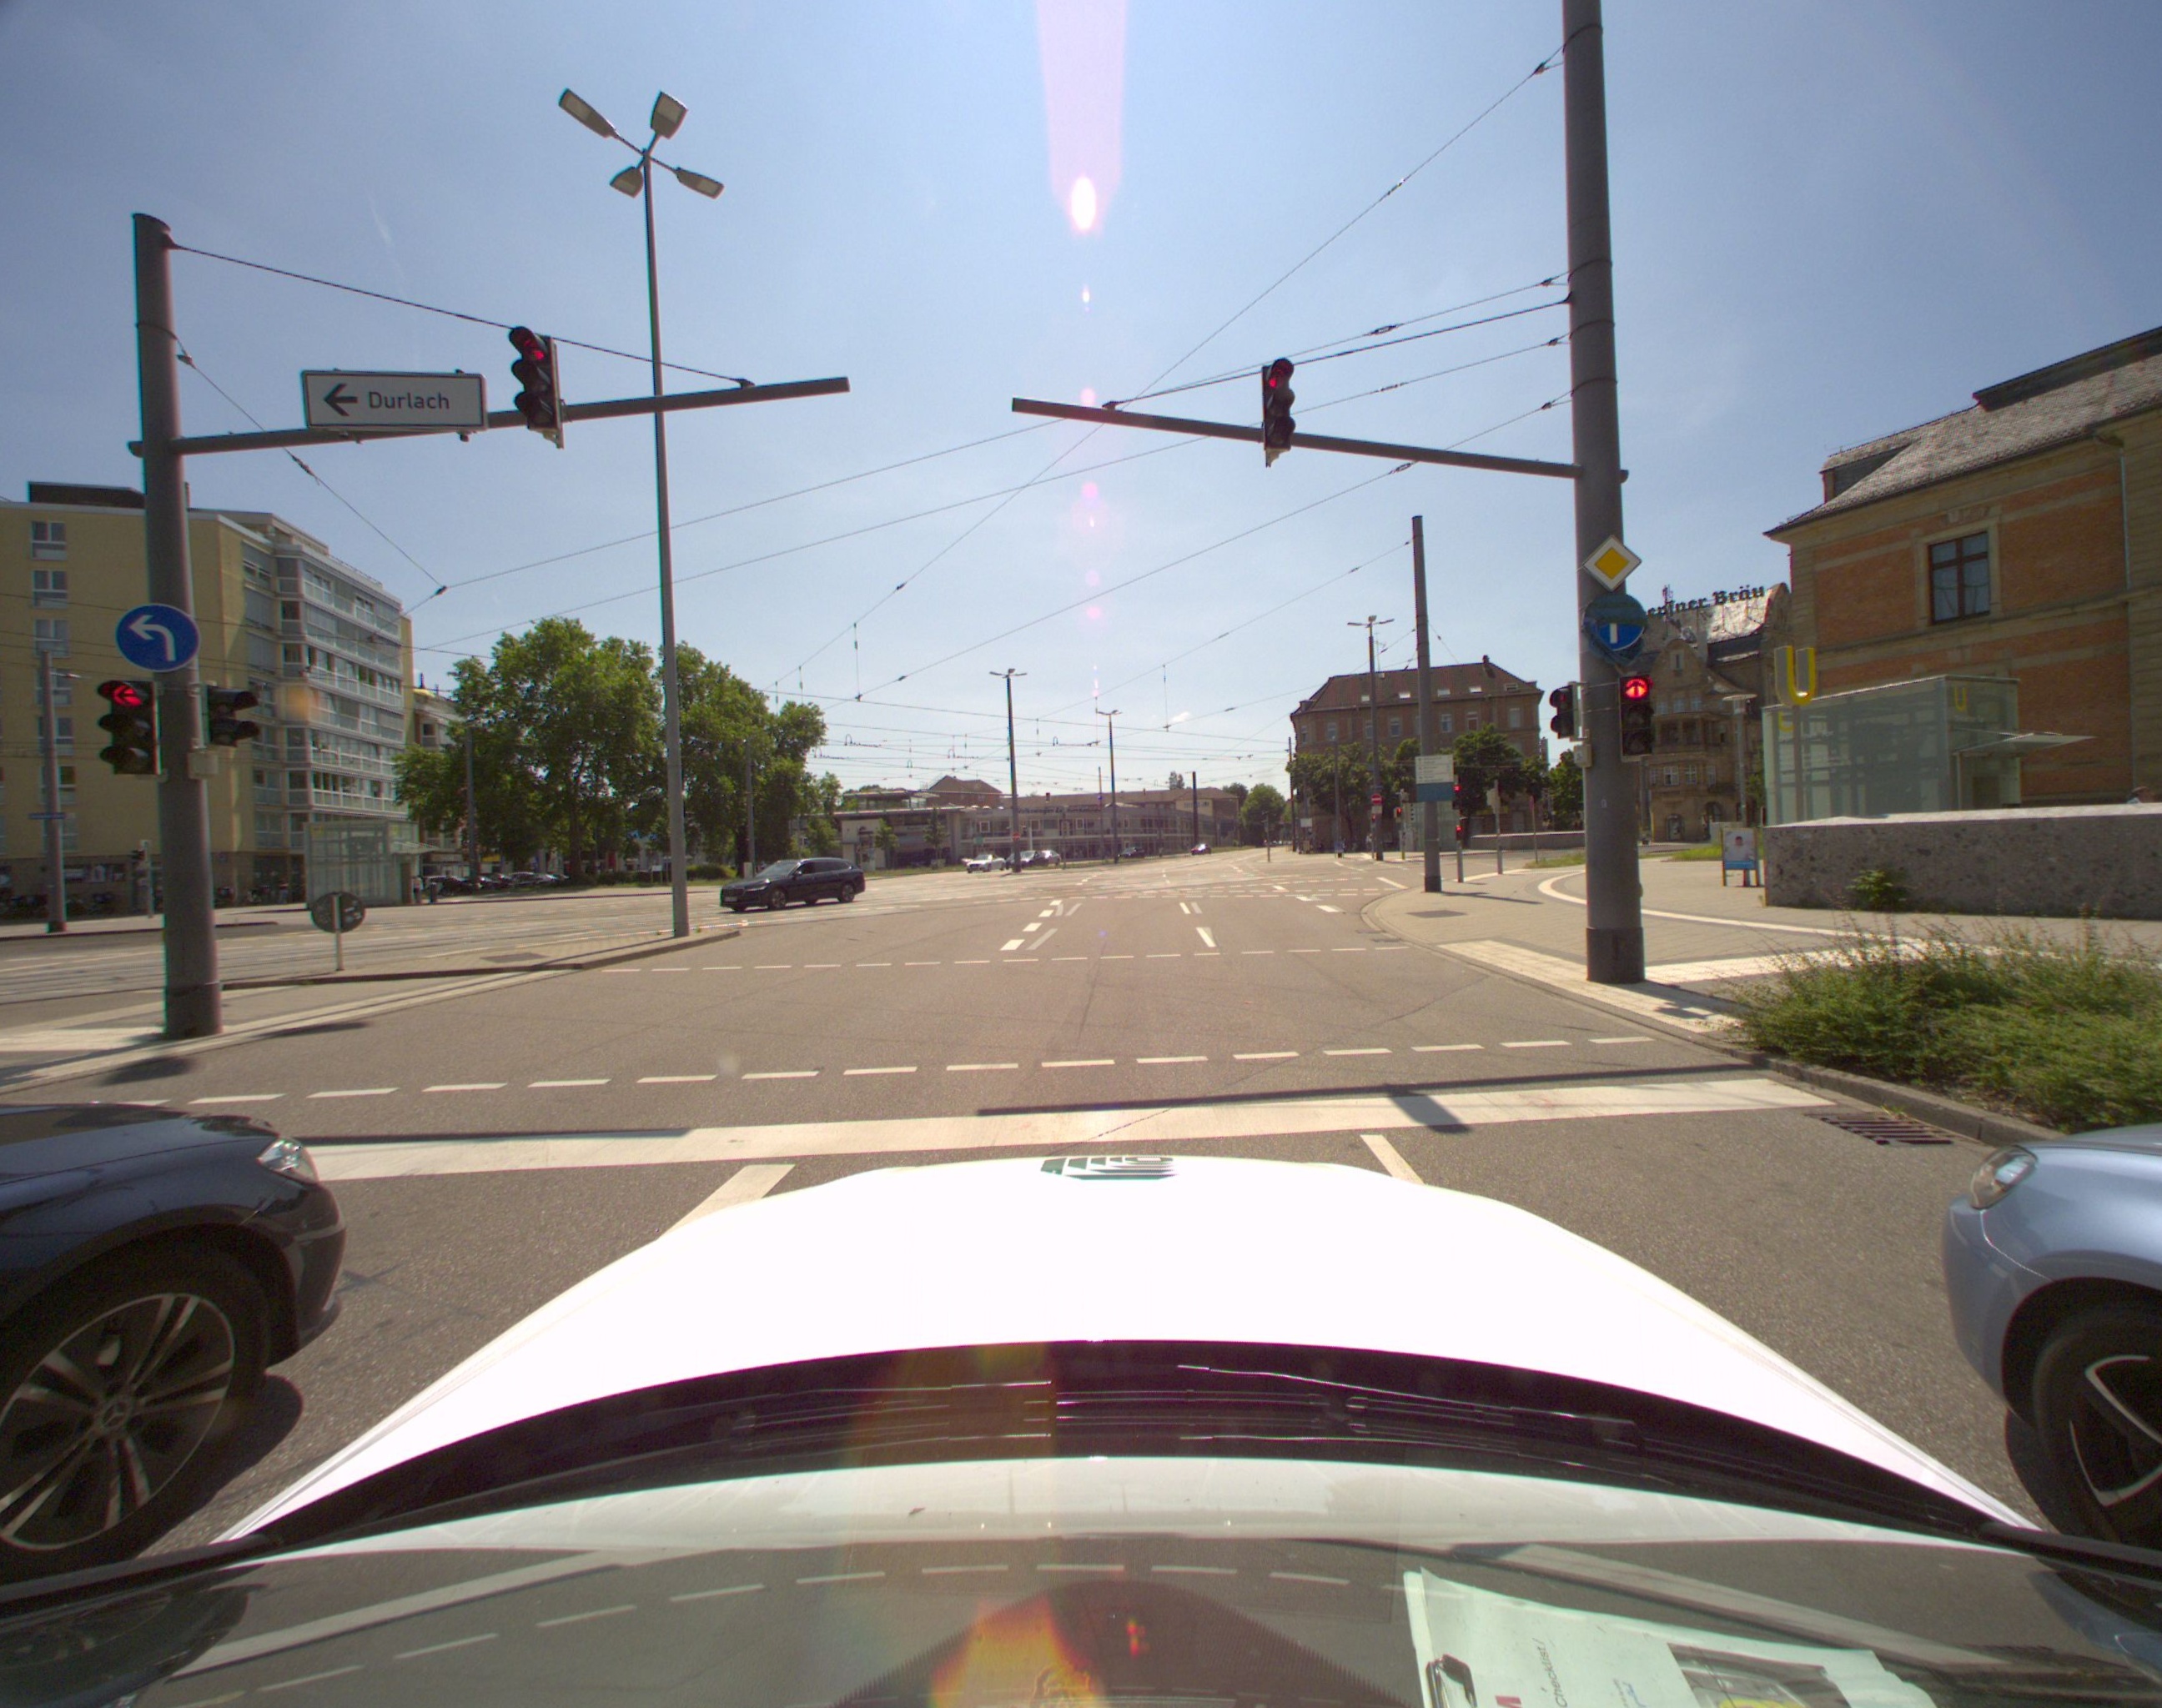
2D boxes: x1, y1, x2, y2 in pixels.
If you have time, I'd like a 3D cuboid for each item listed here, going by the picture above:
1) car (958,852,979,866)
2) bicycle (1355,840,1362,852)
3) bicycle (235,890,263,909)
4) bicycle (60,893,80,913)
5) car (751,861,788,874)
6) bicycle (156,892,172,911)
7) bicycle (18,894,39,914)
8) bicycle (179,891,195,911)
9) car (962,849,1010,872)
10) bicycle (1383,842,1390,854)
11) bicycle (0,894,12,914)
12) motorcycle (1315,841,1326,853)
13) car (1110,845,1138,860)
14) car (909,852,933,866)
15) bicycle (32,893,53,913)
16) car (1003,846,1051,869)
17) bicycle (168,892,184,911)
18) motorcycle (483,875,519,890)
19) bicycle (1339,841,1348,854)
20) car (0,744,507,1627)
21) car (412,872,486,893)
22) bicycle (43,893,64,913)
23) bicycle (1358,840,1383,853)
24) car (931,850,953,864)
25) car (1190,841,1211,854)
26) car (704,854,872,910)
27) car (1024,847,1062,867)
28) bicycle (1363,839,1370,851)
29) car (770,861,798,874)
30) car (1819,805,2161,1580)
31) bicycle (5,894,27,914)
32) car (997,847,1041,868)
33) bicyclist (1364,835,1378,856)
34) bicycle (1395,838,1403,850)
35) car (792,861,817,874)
[{"bbox_3d":[-13.882,0.593,100.677,1.913,1.707,4.002,0,-1,2],"label":"car"},{"bbox_3d":[26.705,-0.820,78.350,0.547,1.120,1.828,-2,0,16],"label":"bicycle"},{"bbox_3d":[-49.277,2.671,48.249,0.432,1.026,1.437,-2,0,-14],"label":"bicycle"},{"bbox_3d":[-55.913,2.691,45.036,0.435,1.026,1.426,-2,0,-42],"label":"bicycle"},{"bbox_3d":[-41.432,1.834,108.338,4.343,1.510,1.754,-3,0,-33],"label":"car"},{"bbox_3d":[-51.691,2.669,45.917,0.435,1.026,1.426,-2,0,-42],"label":"bicycle"},{"bbox_3d":[-57.405,2.697,44.405,0.435,1.026,1.426,-2,0,-42],"label":"bicycle"},{"bbox_3d":[-50.804,2.665,46.274,0.435,1.026,1.426,-2,0,-42],"label":"bicycle"},{"bbox_3d":[-7.485,0.483,64.589,2.061,1.580,4.866,-2,0,15],"label":"car"},{"bbox_3d":[29.398,-0.575,78.342,0.546,1.120,1.879,-2,0,18],"label":"bicycle"},{"bbox_3d":[-58.460,2.701,44.095,0.435,1.026,1.426,-2,0,-42],"label":"bicycle"},{"bbox_3d":[23.170,-0.680,78.791,0.577,1.074,1.949,-2,0,6],"label":"motorcycle"},{"bbox_3d":[5.245,-0.234,98.934,2.061,1.682,4.870,-2,0,19],"label":"car"},{"bbox_3d":[-19.788,0.635,100.834,1.913,1.707,4.002,0,-1,2],"label":"car"},{"bbox_3d":[-56.916,2.695,44.641,0.435,1.026,1.426,-2,0,-42],"label":"bicycle"},{"bbox_3d":[-4.242,0.228,64.825,1.977,1.637,4.870,-2,0,19],"label":"car"},{"bbox_3d":[-51.226,2.667,46.085,0.435,1.026,1.426,-2,0,-42],"label":"bicycle"},{"bbox_3d":[-39.373,1.926,55.291,1.925,0.961,0.521,-2,0,-29],"label":"motorcycle"},{"bbox_3d":[25.503,-0.626,79.116,0.440,1.146,2.099,0,-1,9],"label":"bicycle"},{"bbox_3d":[-2.963,0.633,0.387,1.790,1.640,4.808,-1,0,2],"label":"car"},{"bbox_3d":[-49.101,2.208,63.362,3.997,1.420,1.988,-2,0,-17],"label":"car"},{"bbox_3d":[-56.410,2.692,44.715,0.435,1.026,1.426,-2,0,-42],"label":"bicycle"},{"bbox_3d":[24.762,-0.632,69.623,2.115,1.052,0.687,-2,0,-23],"label":"bicycle"},{"bbox_3d":[-17.162,0.419,100.693,1.913,1.707,4.002,0,-1,2],"label":"car"},{"bbox_3d":[17.315,-0.942,117.942,1.976,1.776,4.022,-1,-1,24],"label":"car"},{"bbox_3d":[-8.925,0.809,25.307,1.975,1.465,4.875,-2,0,25],"label":"car"},{"bbox_3d":[-3.536,0.250,76.559,1.977,1.739,4.565,-2,0,19],"label":"car"},{"bbox_3d":[27.396,-0.833,78.033,0.546,1.120,1.829,-2,0,18],"label":"bicycle"},{"bbox_3d":[-37.498,1.712,102.874,1.760,1.510,4.330,-2,0,3],"label":"car"},{"bbox_3d":[2.802,0.635,0.235,1.645,1.459,4.005,-1,0,2],"label":"car"},{"bbox_3d":[-57.860,2.698,44.246,0.435,1.026,1.426,-2,0,-42],"label":"bicycle"},{"bbox_3d":[-5.333,0.282,70.683,1.977,1.700,4.870,-2,0,19],"label":"car"},{"bbox_3d":[24.755,-0.741,69.619,1.065,1.808,0.475,0,-1,-23],"label":"bicyclist"},{"bbox_3d":[30.541,-0.927,78.208,0.546,1.120,1.938,-2,0,18],"label":"bicycle"},{"bbox_3d":[-34.678,1.663,102.244,1.763,1.510,4.322,-2,0,-3],"label":"car"}]
